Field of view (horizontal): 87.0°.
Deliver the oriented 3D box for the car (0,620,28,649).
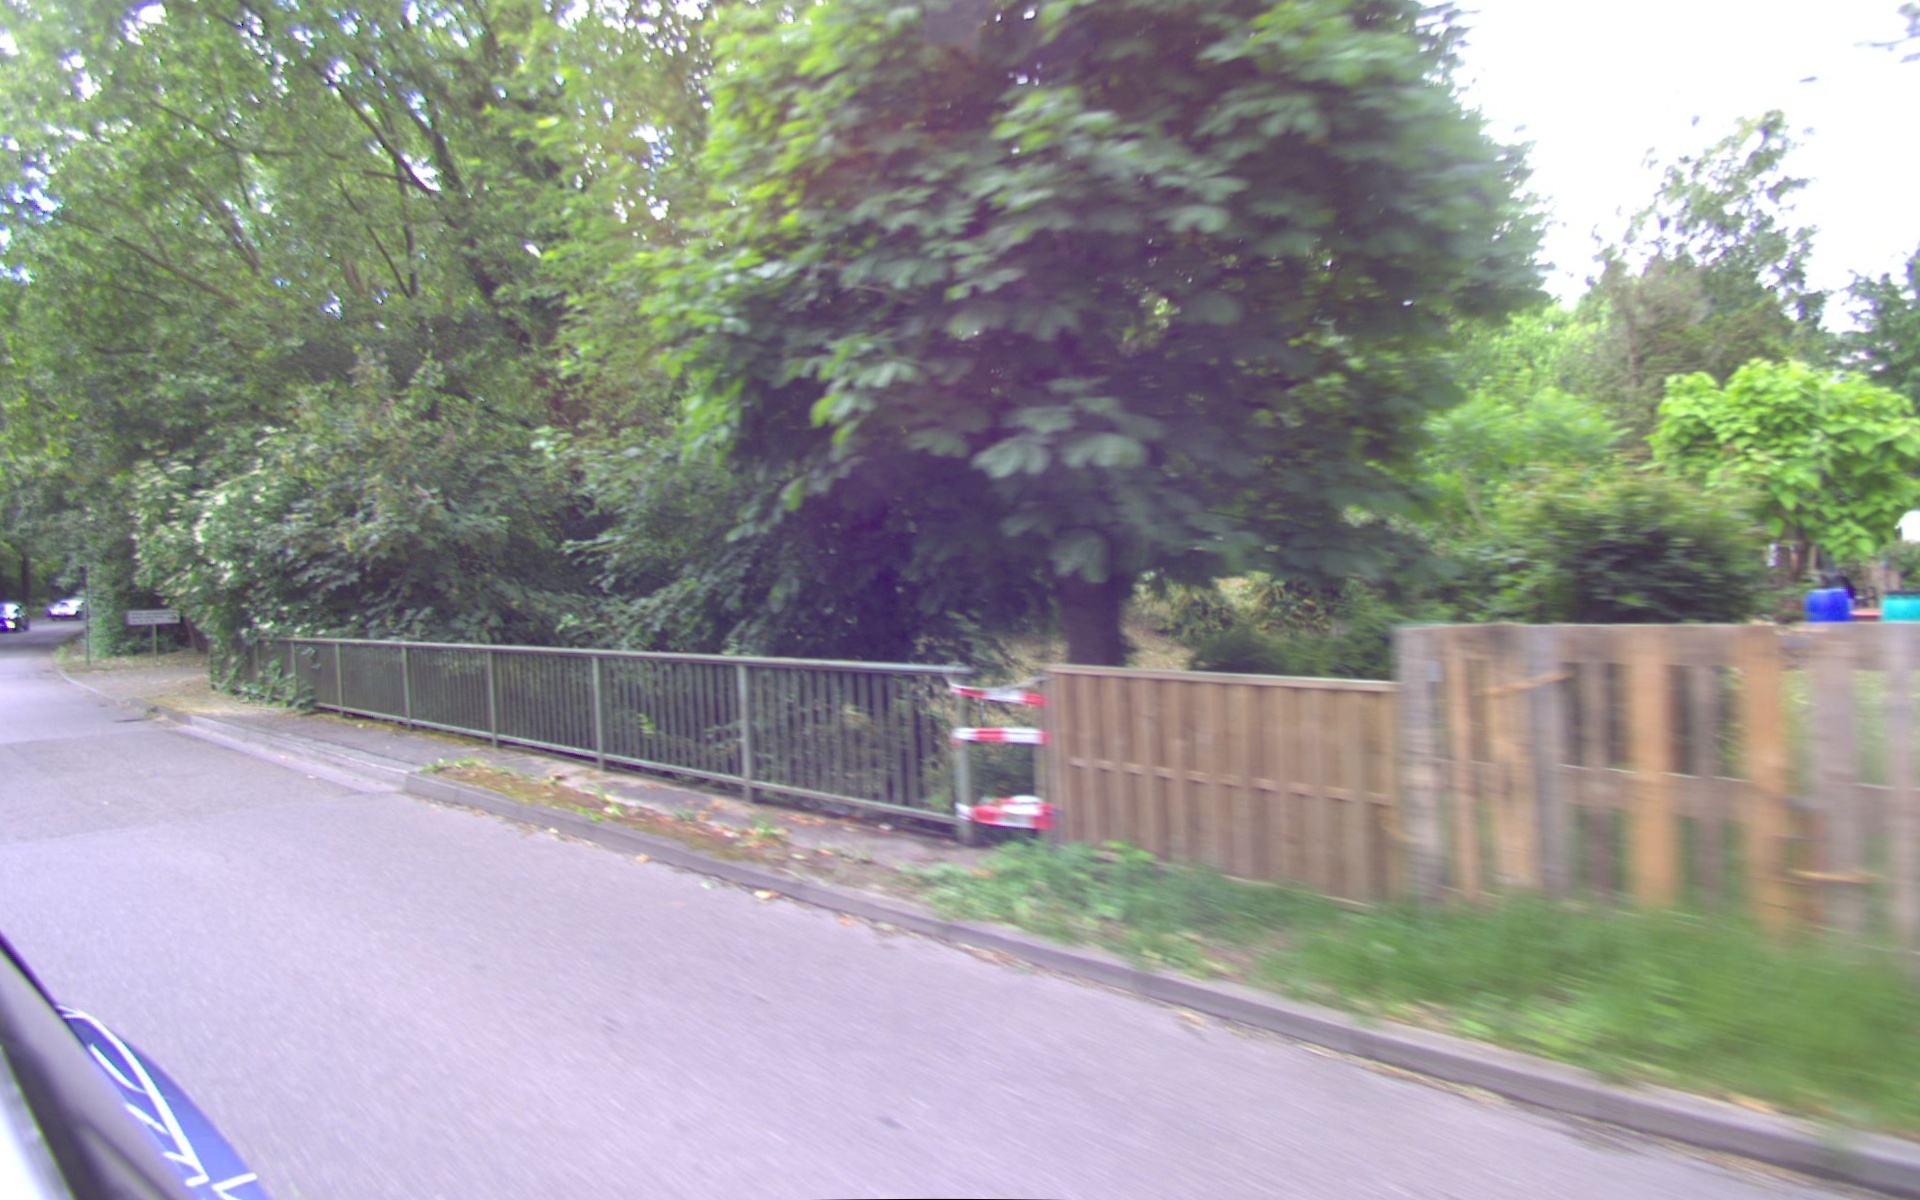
[{"bbox_3d":[-56.695,2.038,59.763,1.740,1.579,4.057,-3,2,-33],"label":"car"}]
